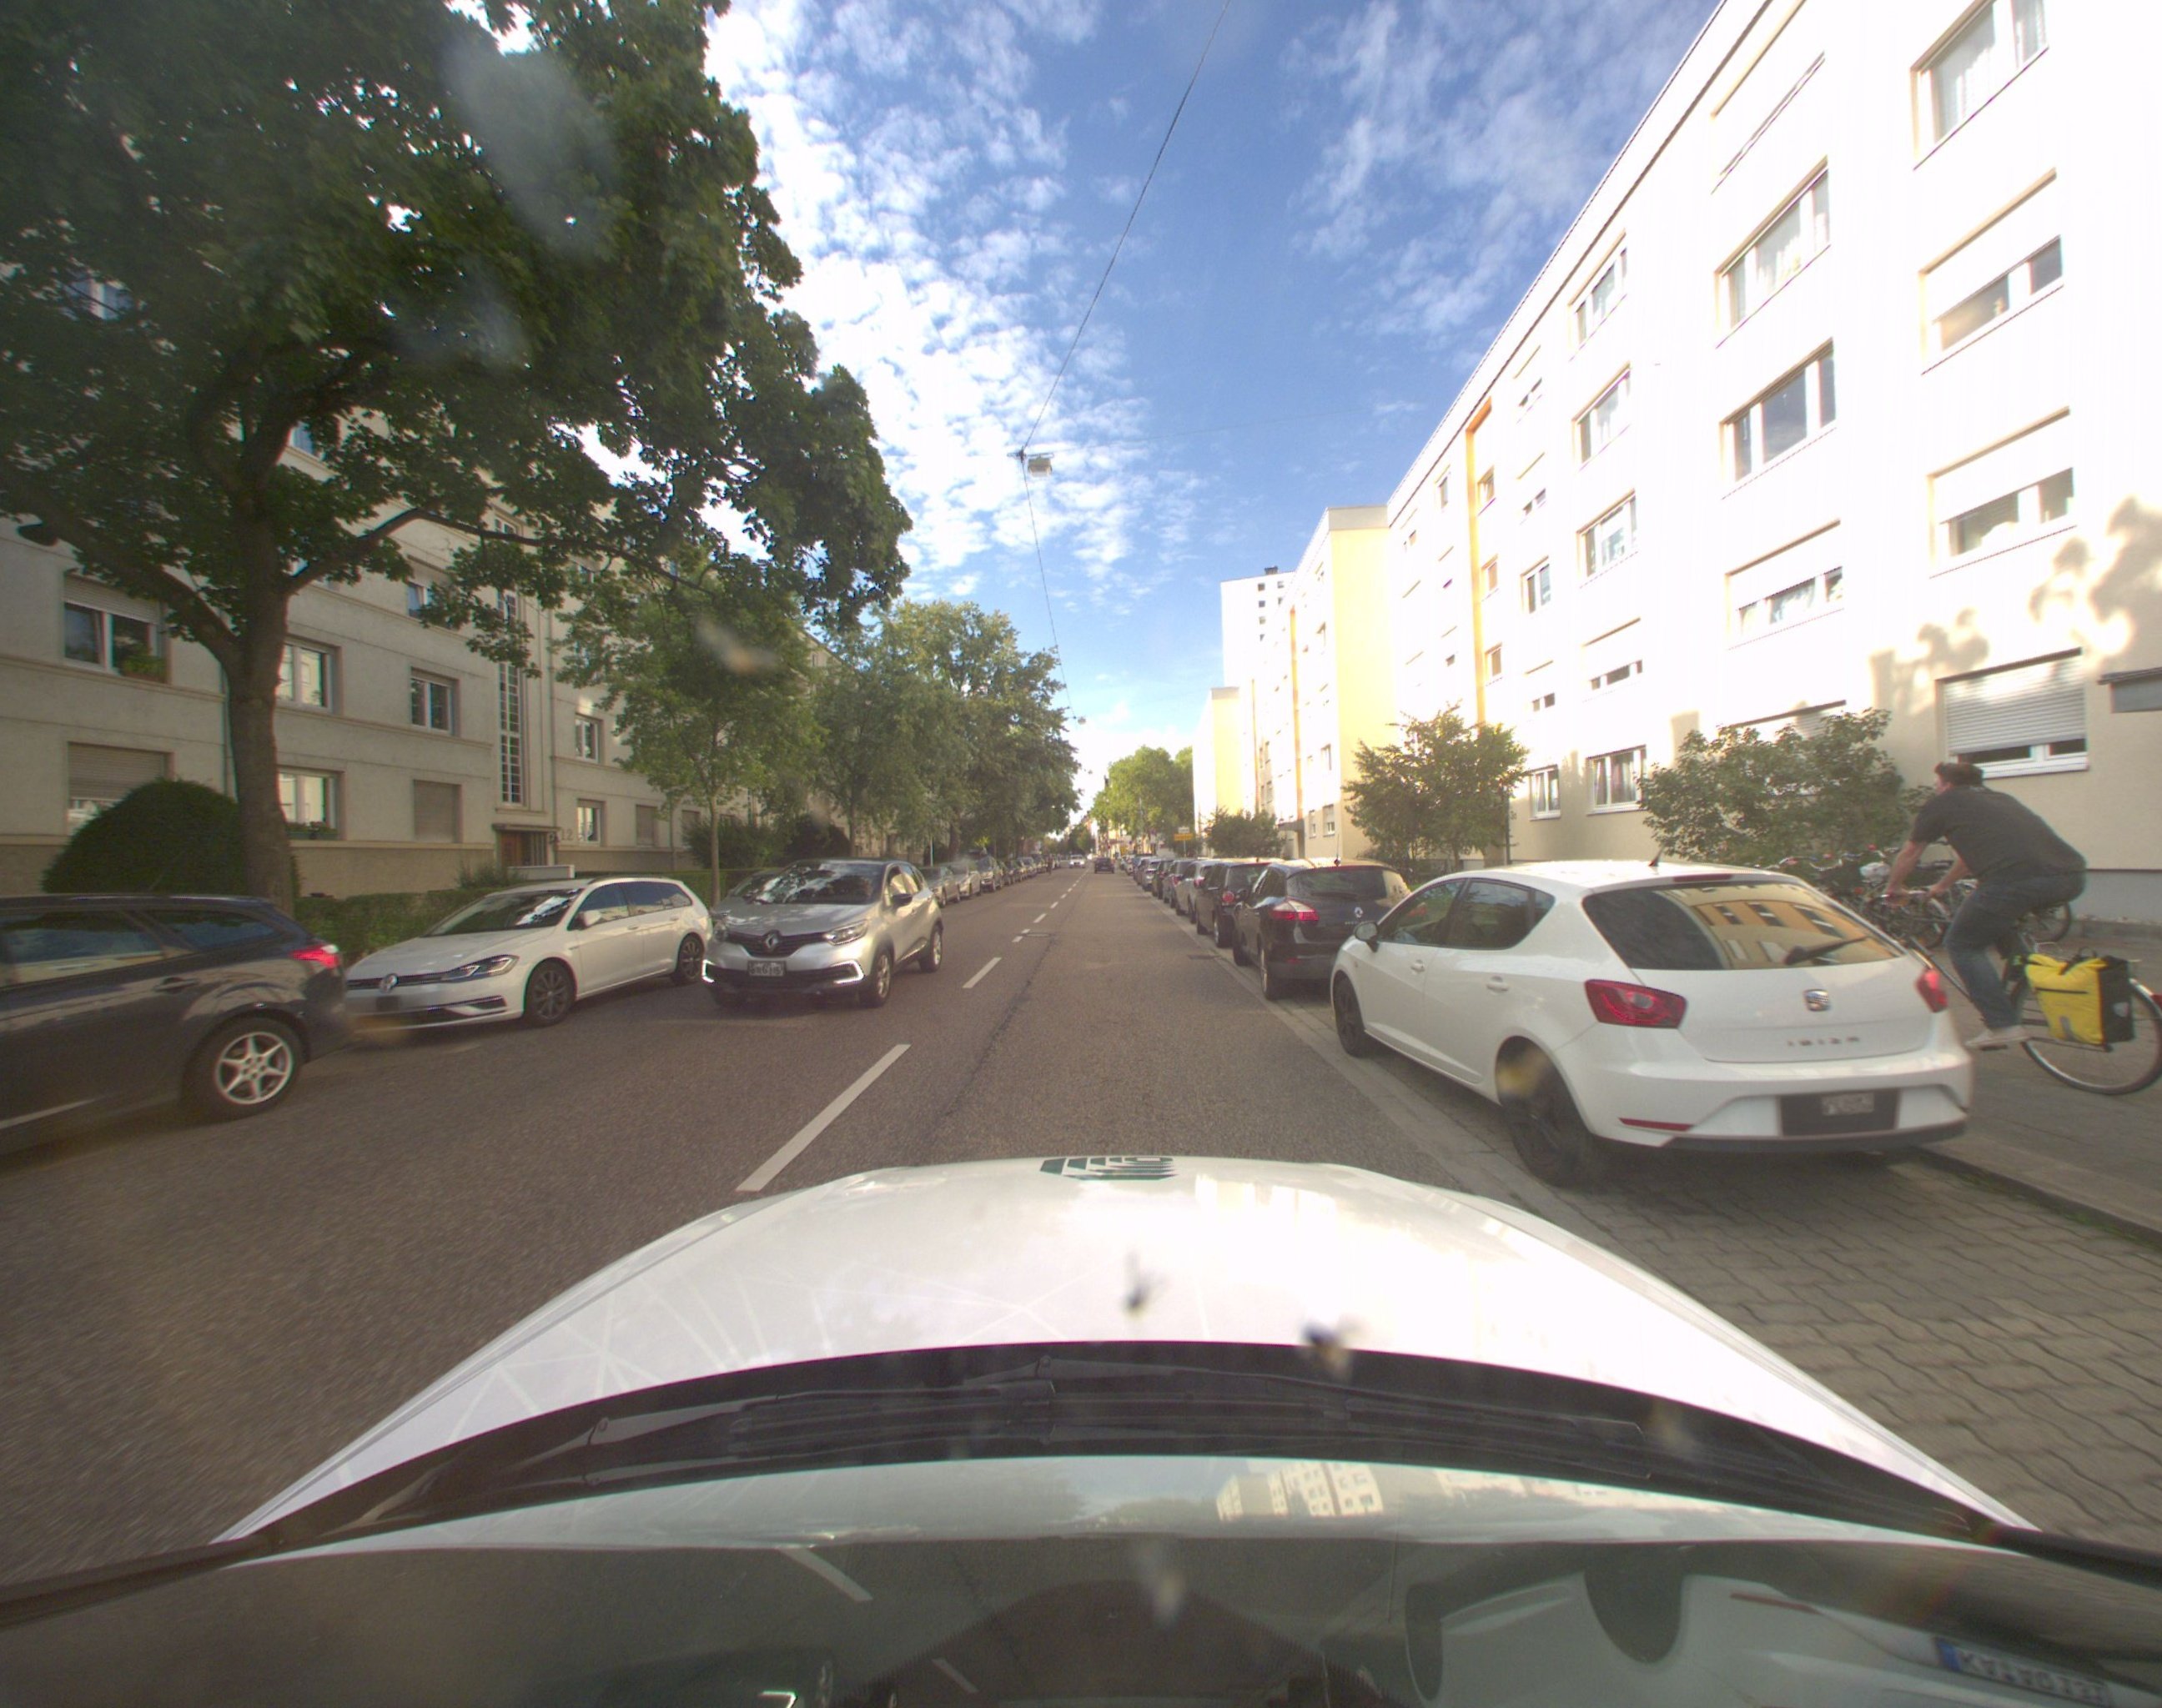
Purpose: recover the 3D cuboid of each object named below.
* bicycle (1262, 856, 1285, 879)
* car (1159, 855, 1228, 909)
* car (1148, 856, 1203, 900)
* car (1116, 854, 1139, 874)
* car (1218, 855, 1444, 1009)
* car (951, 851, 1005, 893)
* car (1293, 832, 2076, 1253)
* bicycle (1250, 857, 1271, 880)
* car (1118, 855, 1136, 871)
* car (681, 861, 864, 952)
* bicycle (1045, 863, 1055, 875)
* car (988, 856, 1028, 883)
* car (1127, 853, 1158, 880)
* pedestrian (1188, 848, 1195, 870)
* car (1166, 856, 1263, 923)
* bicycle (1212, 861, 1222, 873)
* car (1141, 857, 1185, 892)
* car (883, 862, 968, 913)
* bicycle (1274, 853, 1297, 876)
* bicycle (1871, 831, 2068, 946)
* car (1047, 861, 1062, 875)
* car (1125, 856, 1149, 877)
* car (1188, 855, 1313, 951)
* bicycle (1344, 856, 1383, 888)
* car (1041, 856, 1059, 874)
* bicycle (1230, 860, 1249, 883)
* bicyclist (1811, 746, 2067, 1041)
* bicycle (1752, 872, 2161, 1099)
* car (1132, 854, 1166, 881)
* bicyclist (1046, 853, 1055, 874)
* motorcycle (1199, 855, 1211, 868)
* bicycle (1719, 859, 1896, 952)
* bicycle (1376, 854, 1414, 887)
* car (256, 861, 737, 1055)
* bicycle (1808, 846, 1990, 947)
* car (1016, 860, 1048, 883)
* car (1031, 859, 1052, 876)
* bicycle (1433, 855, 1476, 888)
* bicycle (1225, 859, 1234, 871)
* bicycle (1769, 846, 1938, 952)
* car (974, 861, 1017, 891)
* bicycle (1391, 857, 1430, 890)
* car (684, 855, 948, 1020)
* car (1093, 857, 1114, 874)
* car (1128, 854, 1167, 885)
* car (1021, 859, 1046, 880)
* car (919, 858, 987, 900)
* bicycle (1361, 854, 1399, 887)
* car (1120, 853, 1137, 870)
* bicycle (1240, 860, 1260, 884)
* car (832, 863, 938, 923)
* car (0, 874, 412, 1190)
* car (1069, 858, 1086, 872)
[{"bbox_3d":[11.041,0.775,46.817,0.724,1.291,2.636,-2,-1,2],"label":"bicycle"},{"bbox_3d":[3.464,0.822,25.764,1.677,1.485,4.294,-2,0,2],"label":"car"},{"bbox_3d":[3.537,0.863,31.076,1.656,1.491,3.942,-3,-1,1],"label":"car"},{"bbox_3d":[3.948,0.857,69.739,1.722,1.580,4.117,-2,-1,1],"label":"car"},{"bbox_3d":[2.774,0.769,10.020,1.676,1.435,4.210,-2,0,4],"label":"car"},{"bbox_3d":[-4.987,0.849,39.940,1.871,1.793,4.970,-3,0,0],"label":"car"},{"bbox_3d":[2.793,0.702,5.113,1.679,1.468,4.203,-2,0,-2],"label":"car"},{"bbox_3d":[10.320,0.828,46.825,0.593,1.291,2.636,-4,-1,2],"label":"bicycle"},{"bbox_3d":[4.786,0.926,83.997,1.682,1.528,4.242,-2,0,4],"label":"car"},{"bbox_3d":[-5.991,0.934,16.507,1.849,1.486,4.683,-2,0,0],"label":"car"},{"bbox_3d":[-2.434,1.201,64.645,0.639,0.923,1.858,-2,0,2],"label":"bicycle"},{"bbox_3d":[-4.585,0.956,51.532,1.678,1.481,4.457,-5,-1,4],"label":"car"},{"bbox_3d":[4.015,0.795,53.725,1.722,1.650,4.117,-2,-1,1],"label":"car"},{"bbox_3d":[8.890,0.406,65.432,0.539,1.721,0.773,-2,-1,7],"label":"pedestrian"},{"bbox_3d":[3.239,0.816,20.506,1.694,1.463,4.178,-2,0,0],"label":"car"},{"bbox_3d":[10.844,1.020,64.953,0.457,0.941,1.517,-2,0,1],"label":"bicycle"},{"bbox_3d":[3.709,0.908,37.416,1.656,1.416,4.060,-3,-1,1],"label":"car"},{"bbox_3d":[-5.365,1.120,28.765,1.848,1.486,4.945,-4,0,1],"label":"car"},{"bbox_3d":[11.760,0.582,46.872,0.724,1.291,2.636,0,-1,2],"label":"bicycle"},{"bbox_3d":[10.381,0.400,9.609,0.519,1.216,1.591,-3,-2,1],"label":"bicycle"},{"bbox_3d":[-3.361,1.741,103.677,1.793,1.620,3.802,-4,0,0],"label":"car"},{"bbox_3d":[4.369,0.935,63.869,1.721,1.487,4.645,-2,0,3],"label":"car"},{"bbox_3d":[2.996,0.802,15.116,1.676,1.501,3.877,-2,0,3],"label":"car"},{"bbox_3d":[9.640,0.604,27.862,0.591,1.030,2.119,-4,-1,1],"label":"bicycle"},{"bbox_3d":[-3.519,1.237,94.055,1.717,1.882,4.192,-3,0,1],"label":"car"},{"bbox_3d":[9.087,0.989,46.845,0.602,1.291,2.636,-2,-1,2],"label":"bicycle"},{"bbox_3d":[5.308,0.227,5.104,0.621,1.678,0.893,-1,-1,1],"label":"bicyclist"},{"bbox_3d":[5.335,0.703,5.189,0.522,1.135,1.929,-1,-1,1],"label":"bicycle"},{"bbox_3d":[4.034,0.774,48.738,1.722,1.461,4.117,-2,-1,1],"label":"car"},{"bbox_3d":[-2.420,0.742,64.802,0.639,1.601,0.990,-2,-1,1],"label":"bicyclist"},{"bbox_3d":[9.916,0.608,65.029,0.628,1.045,2.394,-1,-1,1],"label":"motorcycle"},{"bbox_3d":[8.559,0.588,9.701,0.593,0.998,1.692,-1,-2,1],"label":"bicycle"},{"bbox_3d":[10.754,0.556,27.946,0.499,1.030,2.070,-4,-1,1],"label":"bicycle"},{"bbox_3d":[-6.007,0.912,9.348,1.849,1.486,4.800,-5,0,1],"label":"car"},{"bbox_3d":[9.668,0.491,9.712,0.519,1.074,1.591,-3,-2,1],"label":"bicycle"},{"bbox_3d":[-3.603,1.264,60.602,1.606,1.468,4.019,-6,-1,5],"label":"car"},{"bbox_3d":[-3.840,1.330,79.690,1.693,1.487,3.850,-4,0,2],"label":"car"},{"bbox_3d":[12.719,0.583,27.770,0.499,1.030,2.136,-5,-1,2],"label":"bicycle"},{"bbox_3d":[11.787,0.901,64.555,0.457,0.927,1.517,-2,0,1],"label":"bicycle"},{"bbox_3d":[9.114,0.519,9.698,0.443,1.137,1.591,-3,-2,1],"label":"bicycle"},{"bbox_3d":[-4.840,1.212,46.749,1.678,1.481,4.122,-5,-1,3],"label":"car"},{"bbox_3d":[11.273,0.659,27.918,0.499,1.030,2.026,-4,-1,1],"label":"bicycle"},{"bbox_3d":[-2.823,0.806,9.672,1.734,1.501,4.010,-2,-1,1],"label":"car"},{"bbox_3d":[1.955,1.009,71.453,1.745,1.413,4.001,-1,0,2],"label":"car"},{"bbox_3d":[3.548,0.837,44.036,1.723,1.515,4.190,-2,-1,0],"label":"car"},{"bbox_3d":[-4.301,1.379,74.283,1.792,1.668,4.485,-4,0,2],"label":"car"},{"bbox_3d":[-5.236,0.979,33.924,1.848,1.573,4.462,-3,0,2],"label":"car"},{"bbox_3d":[10.233,0.556,27.958,0.499,1.030,2.096,-4,-1,1],"label":"bicycle"},{"bbox_3d":[4.592,0.730,78.667,1.545,1.557,3.470,-2,0,2],"label":"car"},{"bbox_3d":[9.724,1.032,46.853,0.602,1.291,2.636,-3,-1,2],"label":"bicycle"},{"bbox_3d":[-5.463,1.033,23.321,1.732,1.393,4.666,-4,0,1],"label":"car"},{"bbox_3d":[-6.173,0.910,3.961,1.848,1.486,4.685,-2,0,1],"label":"car"},{"bbox_3d":[-0.388,1.302,96.819,1.851,1.529,4.013,-1,0,2],"label":"car"}]
